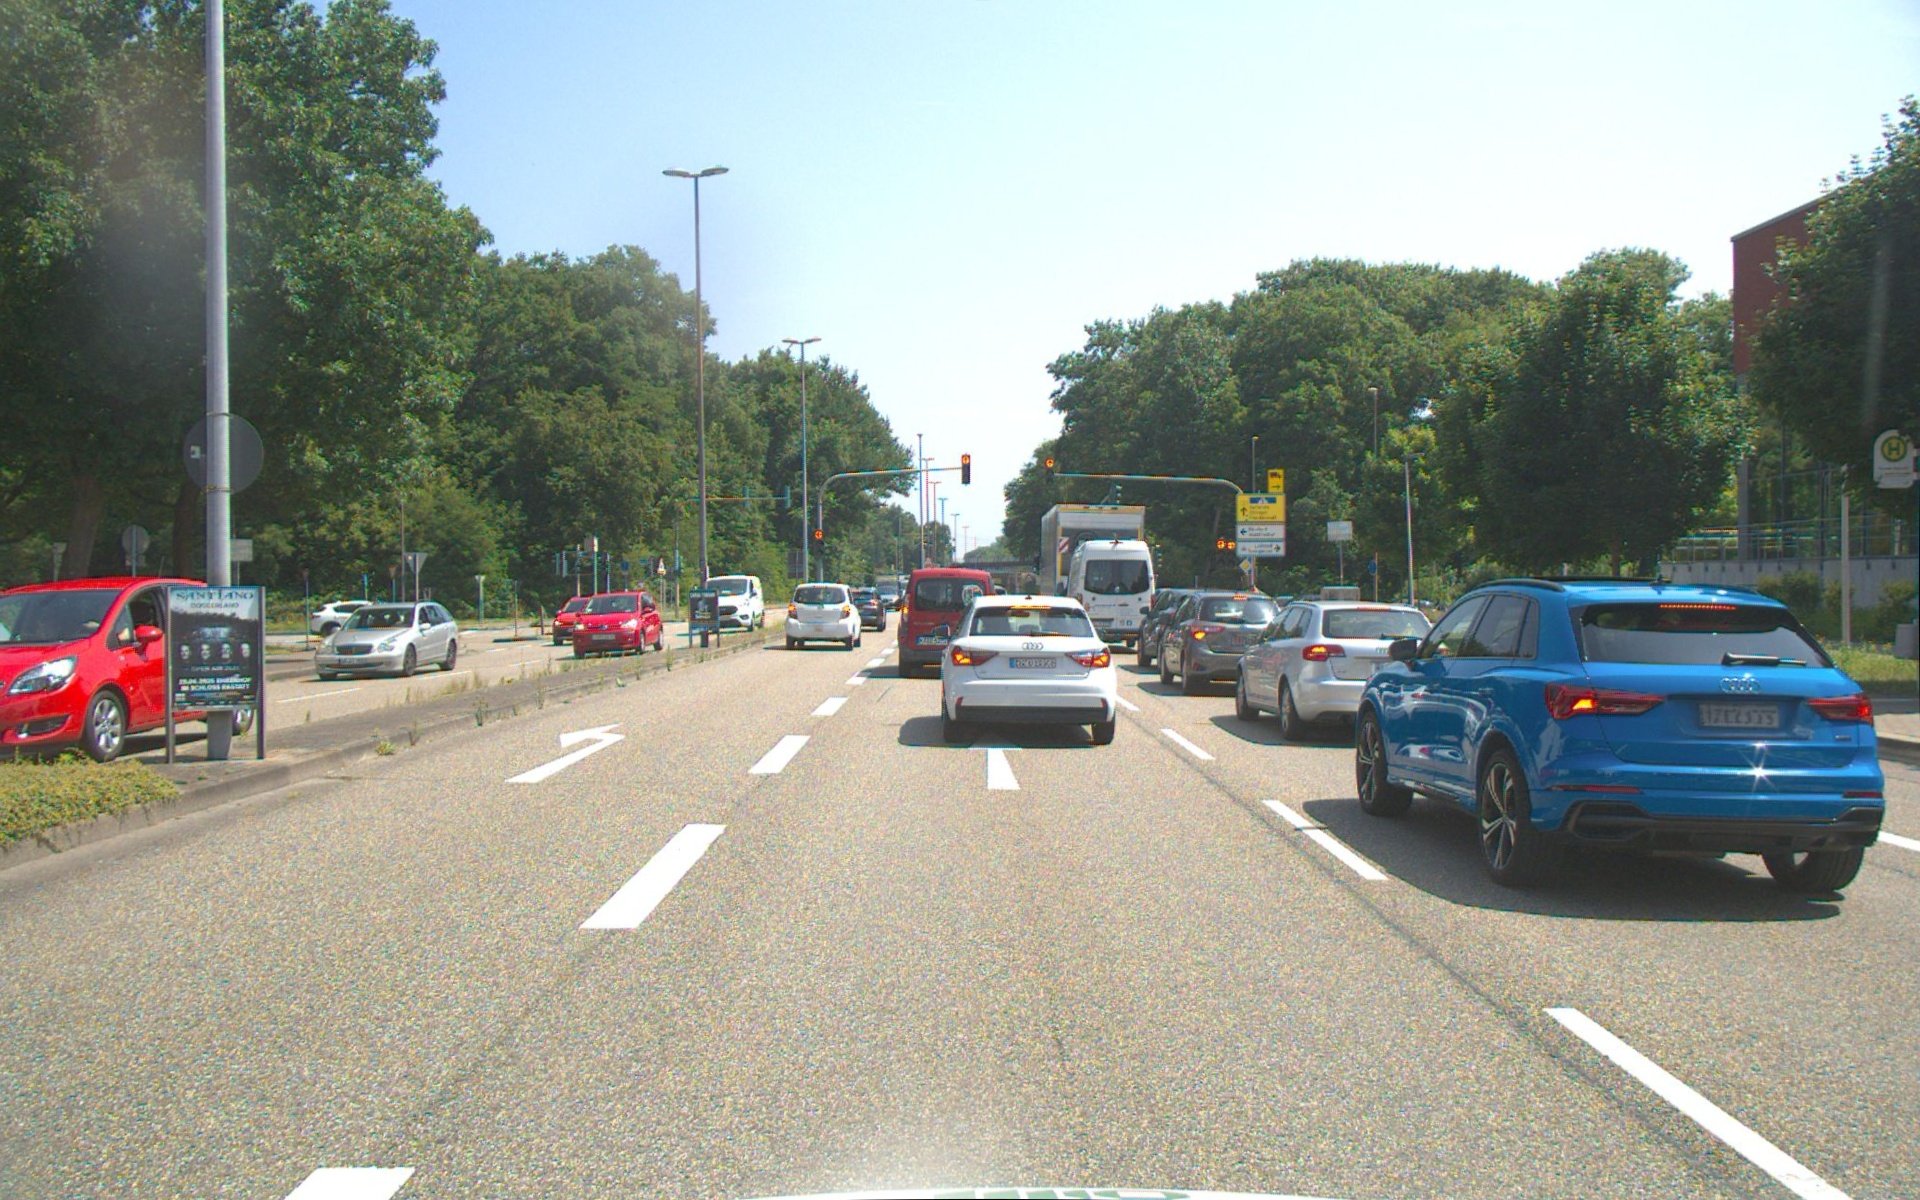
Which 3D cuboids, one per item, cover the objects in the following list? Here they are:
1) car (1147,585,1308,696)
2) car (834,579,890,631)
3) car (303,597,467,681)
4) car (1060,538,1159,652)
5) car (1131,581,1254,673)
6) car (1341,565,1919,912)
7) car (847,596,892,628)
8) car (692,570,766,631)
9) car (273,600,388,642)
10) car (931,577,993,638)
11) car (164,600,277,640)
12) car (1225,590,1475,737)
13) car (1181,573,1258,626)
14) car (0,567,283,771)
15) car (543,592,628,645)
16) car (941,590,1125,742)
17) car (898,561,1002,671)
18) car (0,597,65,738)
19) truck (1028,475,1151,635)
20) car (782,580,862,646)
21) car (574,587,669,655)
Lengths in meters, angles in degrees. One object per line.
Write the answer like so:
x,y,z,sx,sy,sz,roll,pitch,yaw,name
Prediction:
4.054,0.559,25.649,1.677,1.504,4.091,3,0,-1,car
-3.285,0.147,55.932,1.738,1.670,4.036,0,0,-1,car
-11.316,0.722,32.884,1.741,1.428,4.359,-3,1,-1,car
3.686,-0.144,41.519,1.989,2.690,4.845,0,0,-1,car
4.345,0.464,31.474,1.677,1.621,4.091,0,0,-1,car
3.719,0.624,9.945,1.800,1.623,4.400,0,1,-1,car
-5.253,0.676,95.114,1.841,1.719,3.985,-1,0,-14,car
-8.273,-0.008,59.611,1.953,1.979,4.907,-3,1,-1,car
-27.102,0.917,71.363,4.288,1.711,1.807,1,0,-8,car
0.020,0.191,47.454,1.677,1.660,4.091,0,0,-1,car
-33.362,0.912,74.749,4.292,1.711,1.806,1,-1,-11,car
4.131,0.606,18.174,1.677,1.386,4.091,1,0,-1,car
8.059,-0.037,51.626,1.677,1.573,4.091,0,0,-1,car
-7.968,0.557,15.204,1.713,1.597,4.153,-3,1,0,car
-11.653,0.537,51.693,1.671,1.478,3.891,-3,1,0,car
0.658,0.606,17.491,1.677,1.410,4.091,0,0,-1,car
-0.208,0.238,28.885,1.677,1.779,4.091,0,0,-1,car
-10.967,0.769,16.564,1.713,1.476,4.133,-3,1,0,car
3.922,-1.325,52.732,3.025,4.511,11.580,1,0,0,truck
-3.280,0.285,39.952,1.677,1.519,4.091,0,0,-1,car
-8.047,0.464,39.562,1.548,1.466,3.608,-3,1,-2,car
